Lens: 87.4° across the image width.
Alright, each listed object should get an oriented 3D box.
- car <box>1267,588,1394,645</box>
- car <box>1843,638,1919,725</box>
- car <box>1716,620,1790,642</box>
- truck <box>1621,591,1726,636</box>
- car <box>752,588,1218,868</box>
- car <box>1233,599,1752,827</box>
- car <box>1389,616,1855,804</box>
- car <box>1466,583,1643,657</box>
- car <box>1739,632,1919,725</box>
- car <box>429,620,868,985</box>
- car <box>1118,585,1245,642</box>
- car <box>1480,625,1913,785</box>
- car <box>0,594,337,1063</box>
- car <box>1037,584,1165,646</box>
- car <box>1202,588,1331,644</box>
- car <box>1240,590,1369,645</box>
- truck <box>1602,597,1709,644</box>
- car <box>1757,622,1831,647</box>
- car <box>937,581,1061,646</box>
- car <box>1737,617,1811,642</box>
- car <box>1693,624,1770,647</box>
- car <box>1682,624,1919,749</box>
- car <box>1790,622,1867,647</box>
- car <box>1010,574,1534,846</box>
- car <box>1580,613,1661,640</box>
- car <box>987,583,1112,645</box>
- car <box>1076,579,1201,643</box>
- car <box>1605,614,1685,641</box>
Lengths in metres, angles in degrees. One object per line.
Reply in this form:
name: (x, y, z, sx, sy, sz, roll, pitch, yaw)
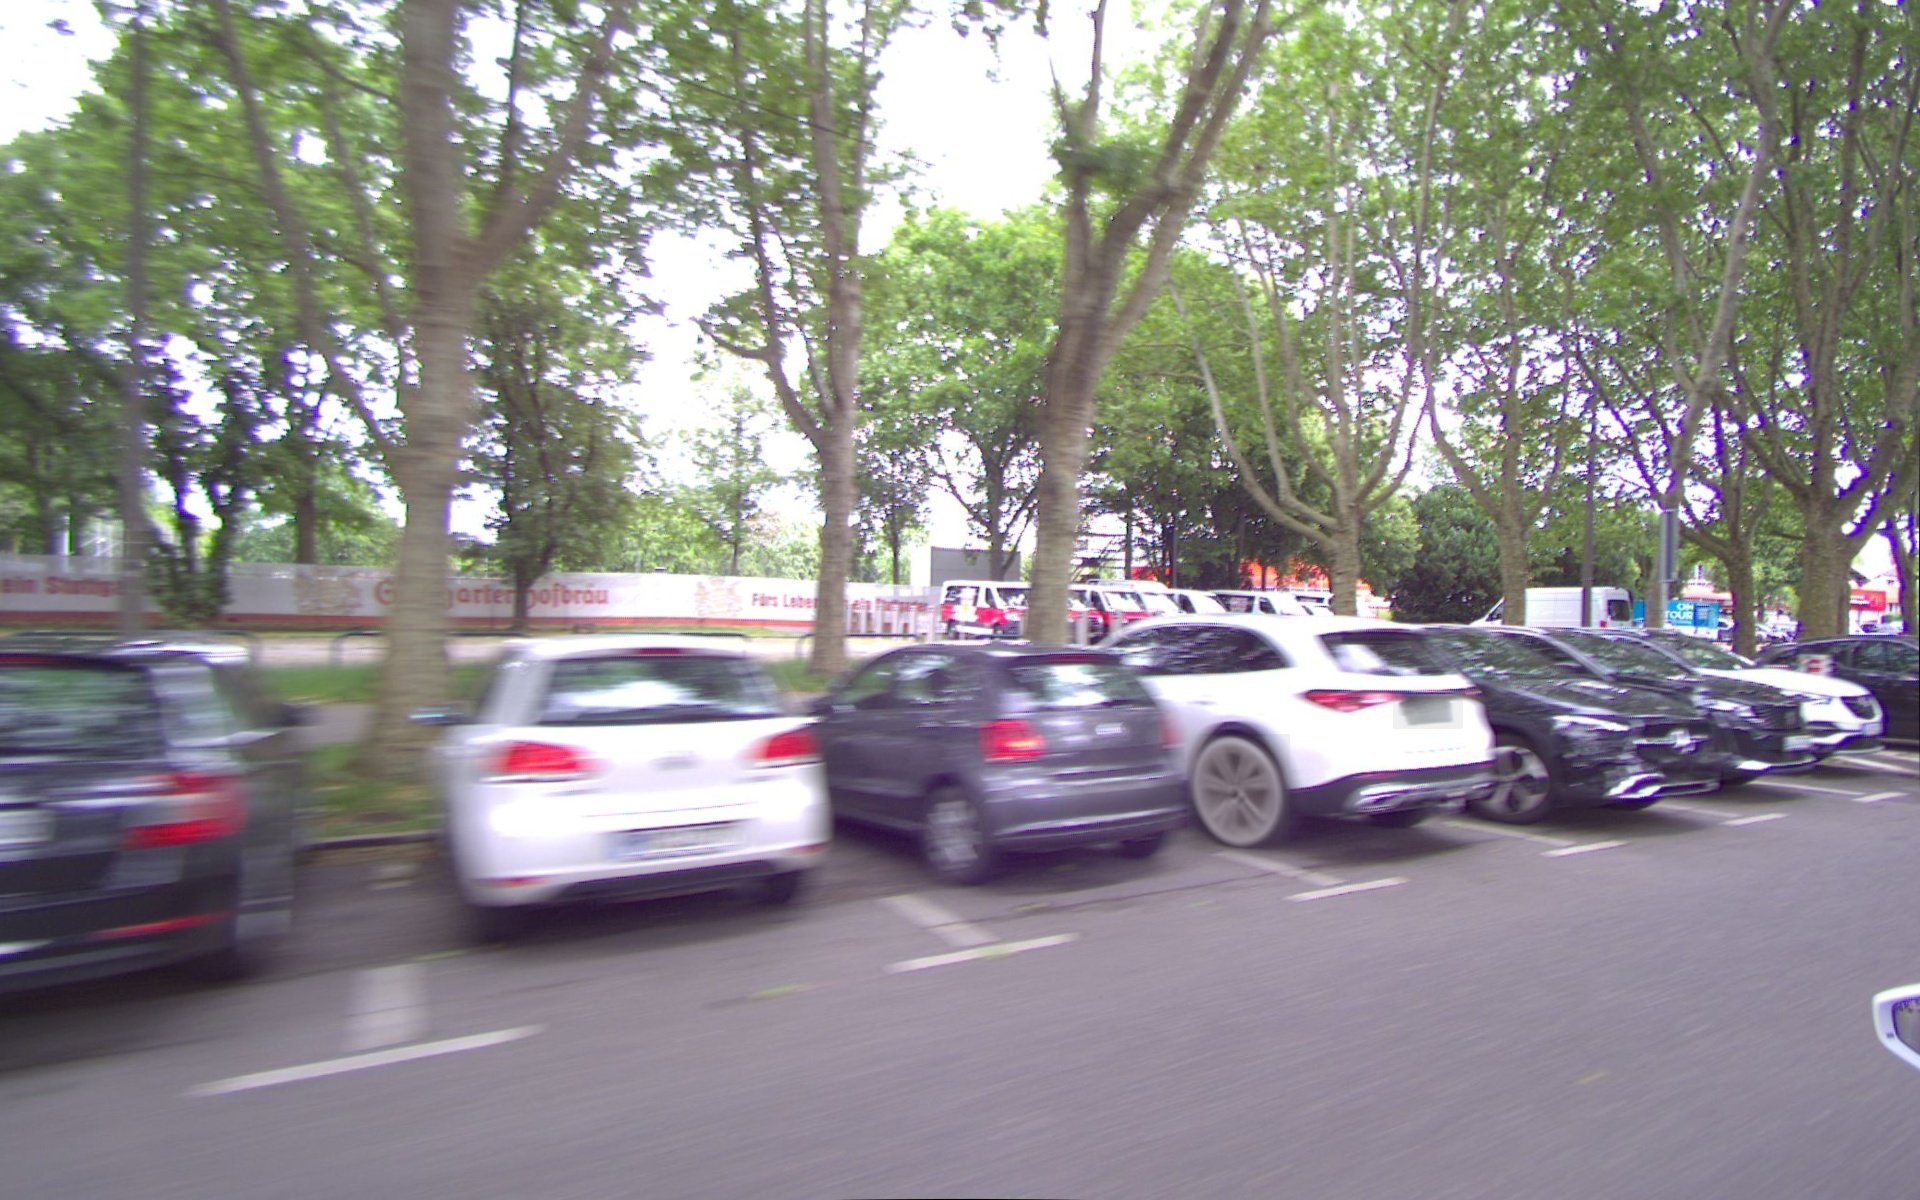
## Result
car: (17.990, 0.729, 49.166, 1.976, 2.561, 5.975, 1, 1, -29)
car: (17.266, 1.359, 16.513, 1.675, 1.448, 3.807, 1, -2, -31)
car: (54.920, 2.117, 69.647, 1.518, 1.368, 3.735, 1, 1, -31)
truck: (47.384, 0.860, 66.843, 2.179, 2.779, 5.214, 1, 1, -29)
car: (-0.087, 0.743, 7.431, 1.675, 1.490, 3.807, 1, -2, -31)
car: (4.630, 0.878, 9.429, 1.776, 1.629, 4.054, 1, -2, -26)
car: (6.866, 1.016, 10.833, 1.814, 1.629, 3.807, 1, -2, -31)
car: (23.149, 0.710, 39.411, 1.975, 2.632, 5.762, 1, 1, -28)
car: (14.974, 1.193, 15.504, 1.675, 1.383, 4.378, 1, -2, -31)
car: (-2.182, 0.913, 6.236, 1.842, 1.493, 3.739, 1, -2, -30)
car: (9.613, 0.530, 44.176, 1.976, 2.270, 5.975, 1, 1, -29)
car: (8.859, 1.149, 12.460, 1.675, 1.629, 4.023, 2, -2, -31)
car: (-4.055, 0.837, 4.936, 1.519, 1.490, 3.978, 1, -4, -30)
car: (5.669, 0.549, 41.336, 1.976, 2.349, 5.975, 1, 1, -29)
car: (13.976, 0.687, 46.279, 1.976, 2.361, 5.975, 1, 1, -29)
car: (16.096, 0.765, 47.371, 1.976, 2.336, 5.975, 1, 1, -29)
truck: (44.683, 1.284, 64.669, 1.905, 2.779, 5.290, 1, 1, -28)
car: (59.518, 2.455, 71.755, 1.518, 1.611, 3.735, 1, 1, -31)
car: (1.382, 0.446, 38.848, 1.976, 2.283, 5.975, 1, 1, -29)
car: (57.271, 2.043, 70.739, 1.518, 1.611, 3.735, 1, 1, -31)
car: (51.177, 2.341, 66.662, 1.518, 1.368, 3.737, 1, 1, -30)
car: (12.835, 1.168, 14.316, 1.675, 1.629, 3.807, 1, -2, -31)
car: (64.348, 2.548, 74.478, 1.668, 1.611, 3.981, 1, 1, -20)
car: (2.271, 0.731, 8.252, 1.931, 1.649, 3.807, 1, -2, -31)
car: (40.313, 1.603, 61.408, 1.659, 1.506, 3.784, 1, 1, -30)
car: (3.448, 0.495, 40.187, 1.976, 2.283, 5.975, 1, 1, -29)
car: (7.547, 0.392, 43.310, 1.976, 2.561, 5.975, 1, 1, -29)
car: (42.758, 1.728, 62.763, 1.692, 1.506, 3.784, 1, 1, -30)
